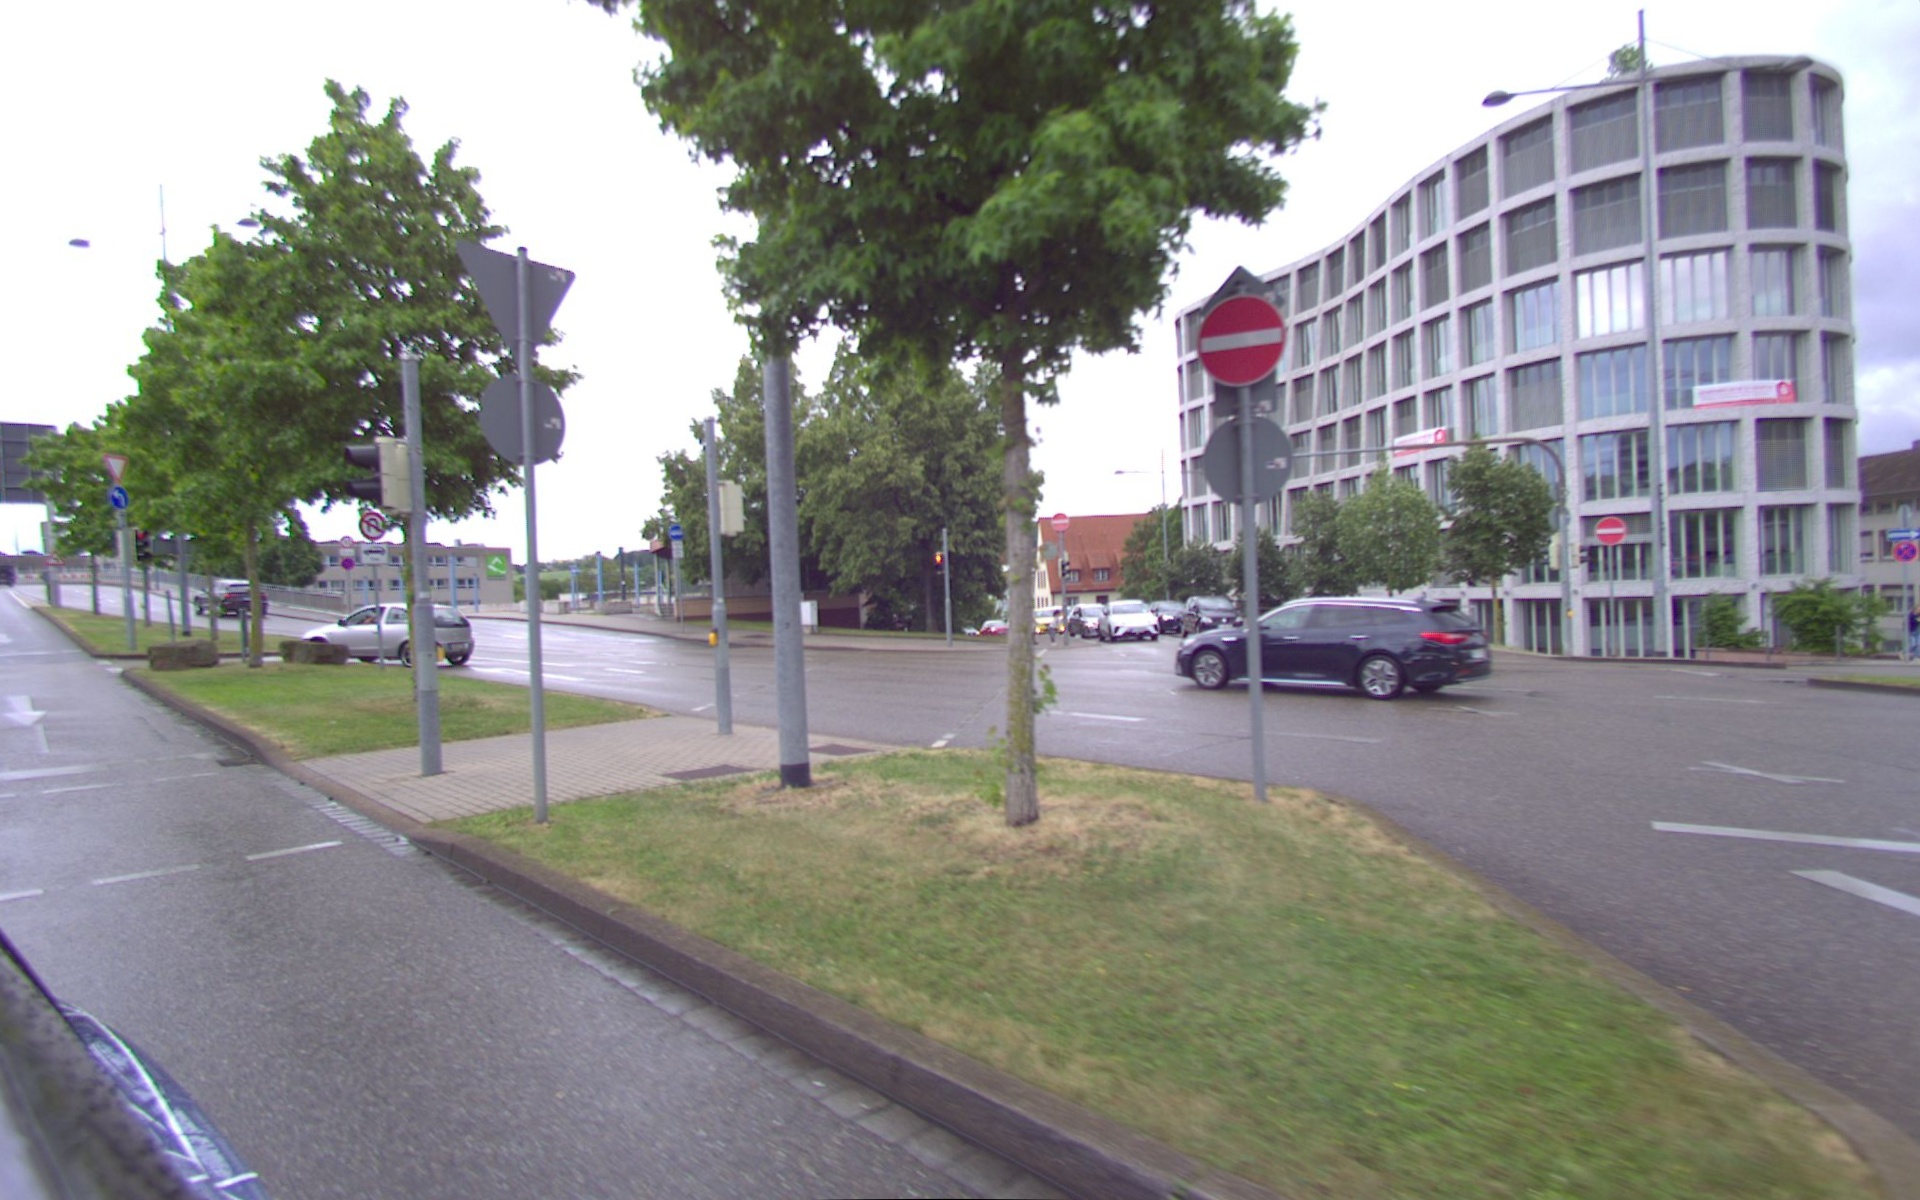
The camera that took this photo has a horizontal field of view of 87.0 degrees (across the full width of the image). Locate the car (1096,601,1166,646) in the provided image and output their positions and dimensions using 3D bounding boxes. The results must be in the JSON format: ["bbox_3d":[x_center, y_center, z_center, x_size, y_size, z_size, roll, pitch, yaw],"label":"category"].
[{"bbox_3d":[6.417,0.861,38.441,1.861,1.579,4.141,-1,0,0],"label":"car"}]

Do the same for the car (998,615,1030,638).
[{"bbox_3d":[3.847,1.864,72.258,1.547,1.563,3.188,-2,0,-11],"label":"car"}]

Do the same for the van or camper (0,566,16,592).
[{"bbox_3d":[-82.048,-1.798,85.702,5.275,2.088,2.196,2,1,37],"label":"van or camper"}]

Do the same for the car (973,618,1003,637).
[{"bbox_3d":[2.179,2.110,78.672,1.547,1.405,3.189,-2,0,-13],"label":"car"}]

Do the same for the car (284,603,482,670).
[{"bbox_3d":[-13.164,0.800,23.163,3.836,1.459,1.631,0,0,12],"label":"car"}]

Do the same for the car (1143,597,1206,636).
[{"bbox_3d":[9.073,0.677,43.085,1.703,1.579,3.840,-1,0,-2],"label":"car"}]

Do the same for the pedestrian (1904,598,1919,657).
[{"bbox_3d":[26.434,0.743,27.794,0.705,1.595,0.664,-1,0,43],"label":"pedestrian"}]

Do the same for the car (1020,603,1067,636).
[{"bbox_3d":[4.414,1.017,54.252,1.701,1.711,3.658,-1,0,-8],"label":"car"}]

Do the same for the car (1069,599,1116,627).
[{"bbox_3d":[7.747,0.755,59.509,1.701,1.579,3.845,-1,0,-8],"label":"car"}]

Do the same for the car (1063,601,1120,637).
[{"bbox_3d":[5.767,0.808,44.820,1.702,1.519,4.059,-1,0,-4],"label":"car"}]

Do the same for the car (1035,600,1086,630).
[{"bbox_3d":[6.466,0.951,65.491,1.699,1.832,4.443,-1,0,-17],"label":"car"}]

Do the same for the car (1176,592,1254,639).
[{"bbox_3d":[9.220,0.530,36.926,1.703,1.579,3.840,-1,0,-2],"label":"car"}]

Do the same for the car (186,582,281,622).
[{"bbox_3d":[-33.755,0.056,47.019,4.842,1.674,1.894,2,2,32],"label":"car"}]

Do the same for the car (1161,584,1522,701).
[{"bbox_3d":[5.709,0.596,15.683,1.825,1.515,4.924,-1,0,-43],"label":"car"}]

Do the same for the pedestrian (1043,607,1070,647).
[{"bbox_3d":[3.149,0.872,33.023,0.629,1.302,0.646,1,0,33],"label":"pedestrian"}]

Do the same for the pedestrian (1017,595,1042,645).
[{"bbox_3d":[2.224,0.638,32.645,0.643,1.582,0.632,1,0,-10],"label":"pedestrian"}]
